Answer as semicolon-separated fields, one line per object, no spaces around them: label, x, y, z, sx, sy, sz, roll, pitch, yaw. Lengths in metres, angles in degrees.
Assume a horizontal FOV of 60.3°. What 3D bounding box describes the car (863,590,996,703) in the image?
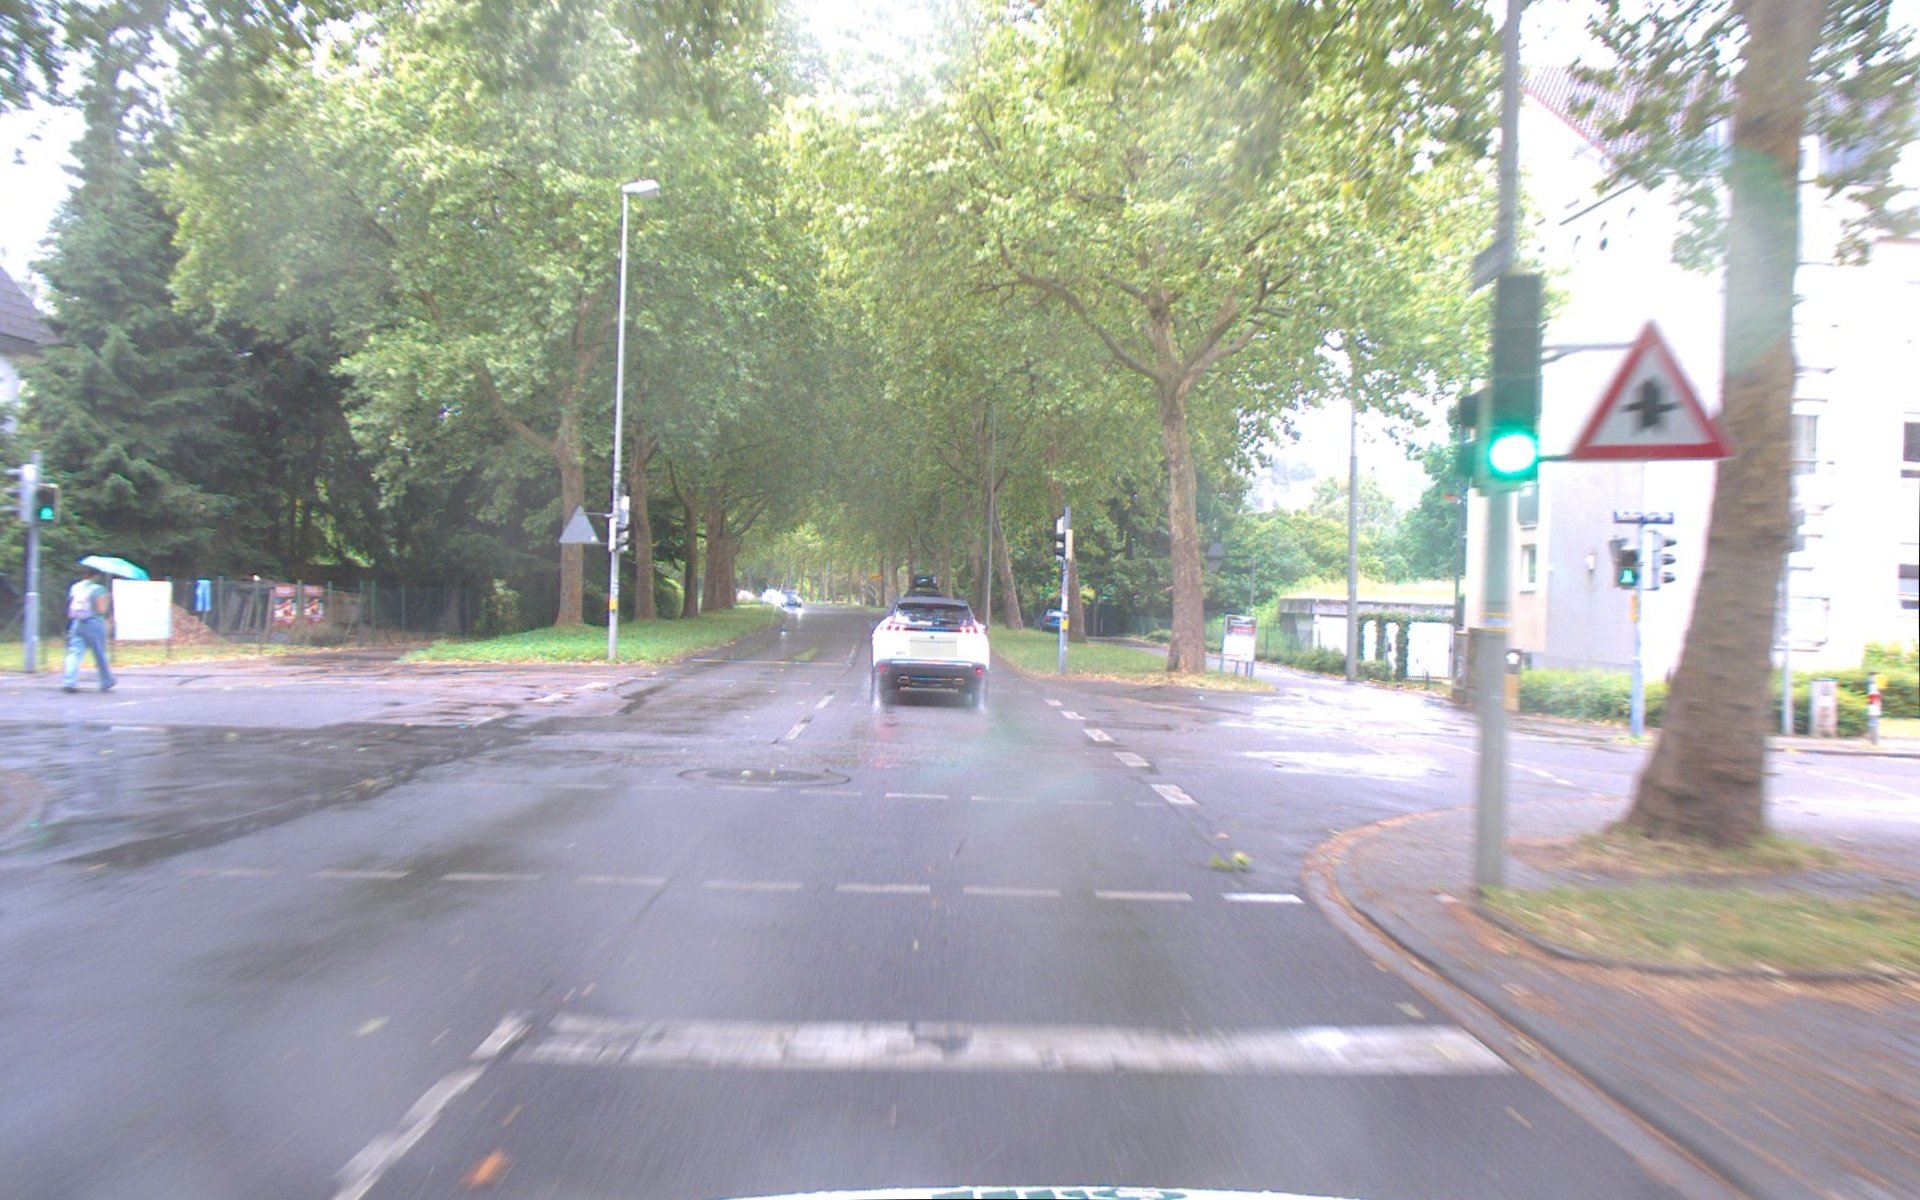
car;-0.547;0.684;25.560;1.745;1.563;4.053;1;-1;-5

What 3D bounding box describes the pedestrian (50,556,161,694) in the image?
pedestrian;-11.432;0.325;22.159;1.011;1.796;0.838;1;0;1

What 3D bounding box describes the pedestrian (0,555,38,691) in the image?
pedestrian;-13.154;0.290;22.209;1.011;1.796;0.879;1;0;1

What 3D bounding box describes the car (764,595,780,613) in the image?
car;-22.130;0.500;194.793;1.707;2.049;3.661;2;0;-4

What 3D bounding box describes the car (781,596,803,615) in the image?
car;-15.705;0.545;154.670;1.836;1.706;3.706;2;0;-2

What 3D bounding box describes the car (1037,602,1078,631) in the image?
car;5.451;0.933;92.753;1.867;1.536;3.929;2;0;-2
